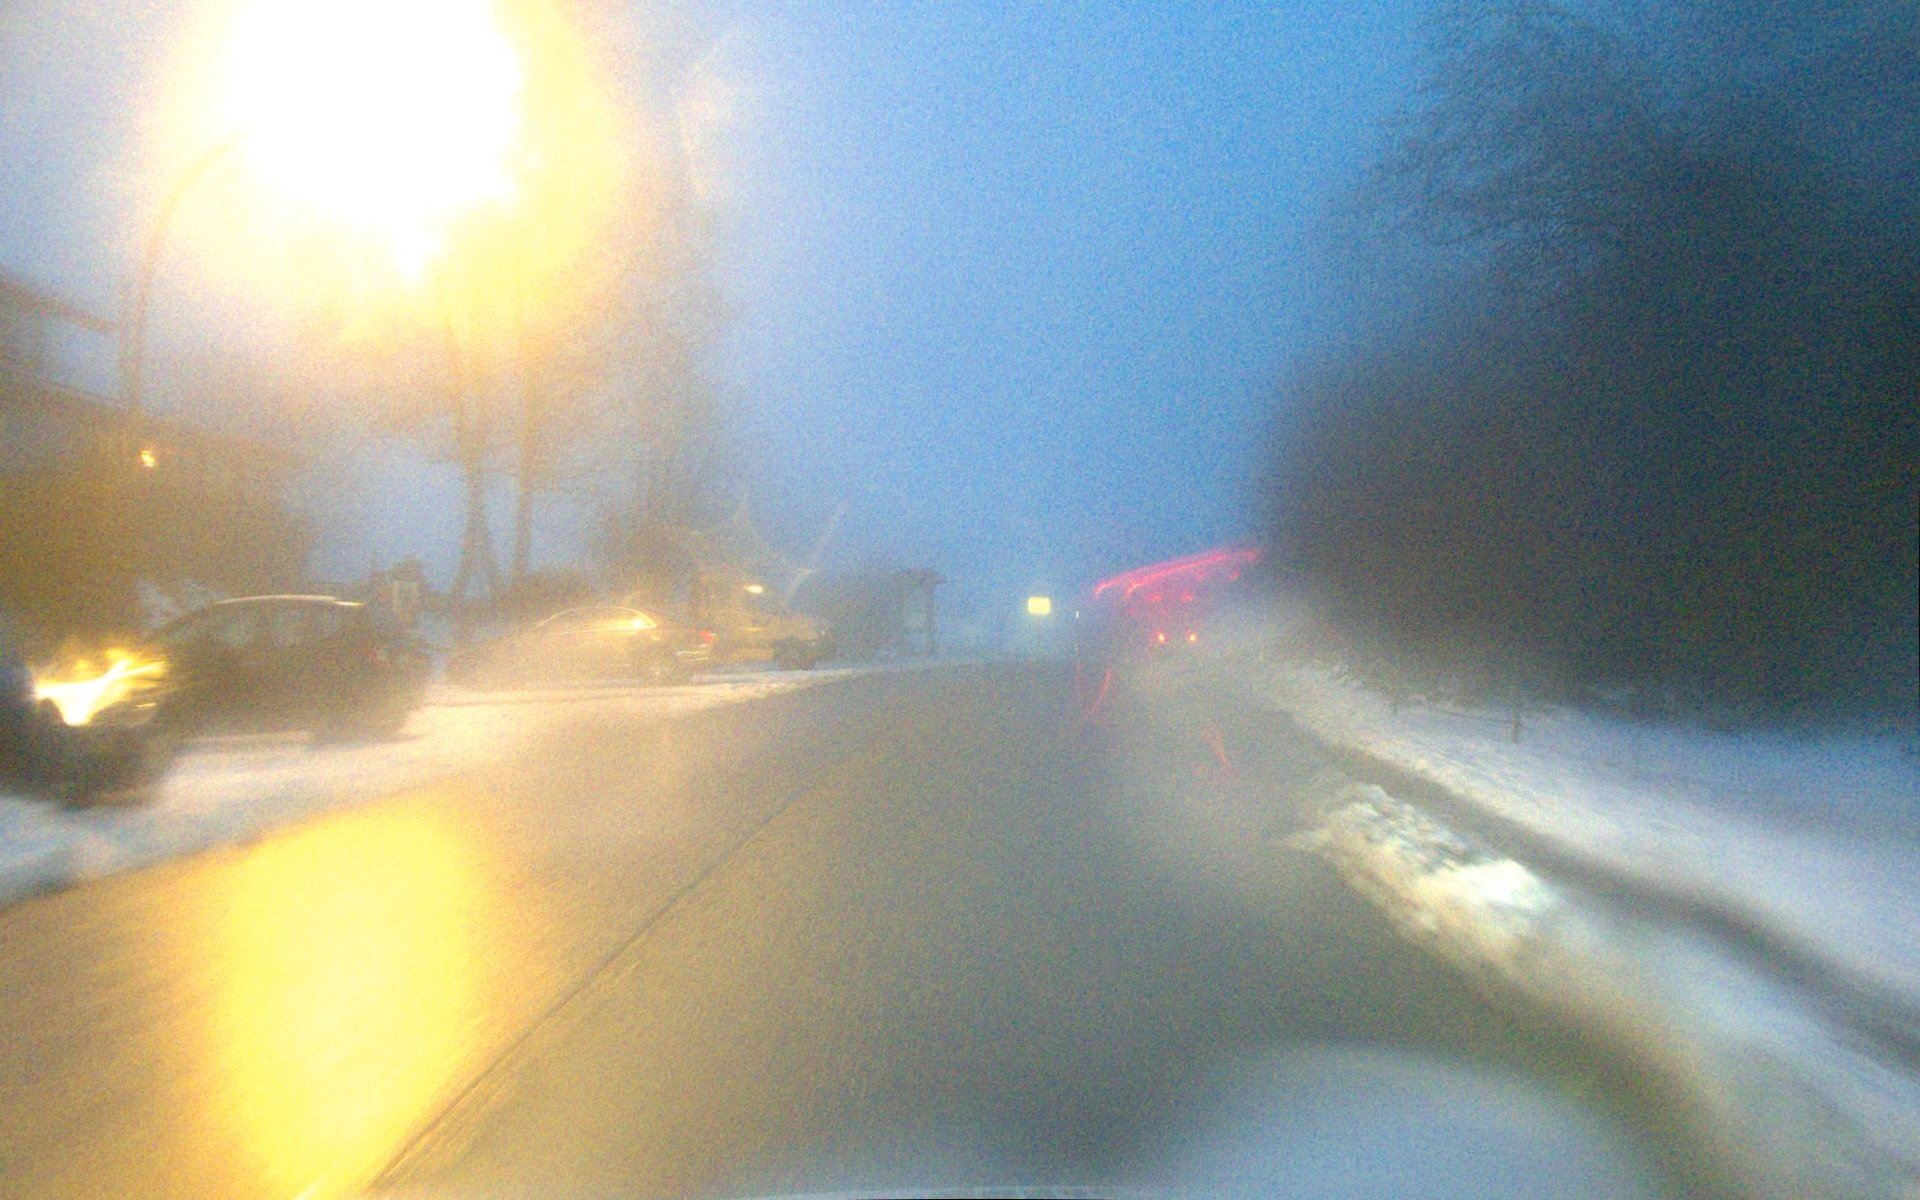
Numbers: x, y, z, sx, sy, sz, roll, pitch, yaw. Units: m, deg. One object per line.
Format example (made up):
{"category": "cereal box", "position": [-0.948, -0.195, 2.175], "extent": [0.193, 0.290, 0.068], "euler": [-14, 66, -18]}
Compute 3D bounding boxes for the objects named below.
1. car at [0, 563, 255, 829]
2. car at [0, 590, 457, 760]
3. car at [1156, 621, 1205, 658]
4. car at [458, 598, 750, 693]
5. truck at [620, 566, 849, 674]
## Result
{"category": "car", "position": [-7.321, 0.642, 10.909], "extent": [4.442, 1.593, 2.107], "euler": [-2, 0, -7]}
{"category": "car", "position": [-7.278, 0.709, 16.735], "extent": [3.777, 1.497, 1.937], "euler": [-2, 0, -3]}
{"category": "car", "position": [9.020, 1.631, 67.850], "extent": [1.951, 1.445, 4.002], "euler": [1, -2, 7]}
{"category": "car", "position": [-6.380, 0.801, 30.064], "extent": [4.786, 1.511, 2.123], "euler": [-2, 0, 1]}
{"category": "truck", "position": [-5.358, 0.469, 39.841], "extent": [5.153, 2.343, 2.000], "euler": [-2, 0, 0]}
